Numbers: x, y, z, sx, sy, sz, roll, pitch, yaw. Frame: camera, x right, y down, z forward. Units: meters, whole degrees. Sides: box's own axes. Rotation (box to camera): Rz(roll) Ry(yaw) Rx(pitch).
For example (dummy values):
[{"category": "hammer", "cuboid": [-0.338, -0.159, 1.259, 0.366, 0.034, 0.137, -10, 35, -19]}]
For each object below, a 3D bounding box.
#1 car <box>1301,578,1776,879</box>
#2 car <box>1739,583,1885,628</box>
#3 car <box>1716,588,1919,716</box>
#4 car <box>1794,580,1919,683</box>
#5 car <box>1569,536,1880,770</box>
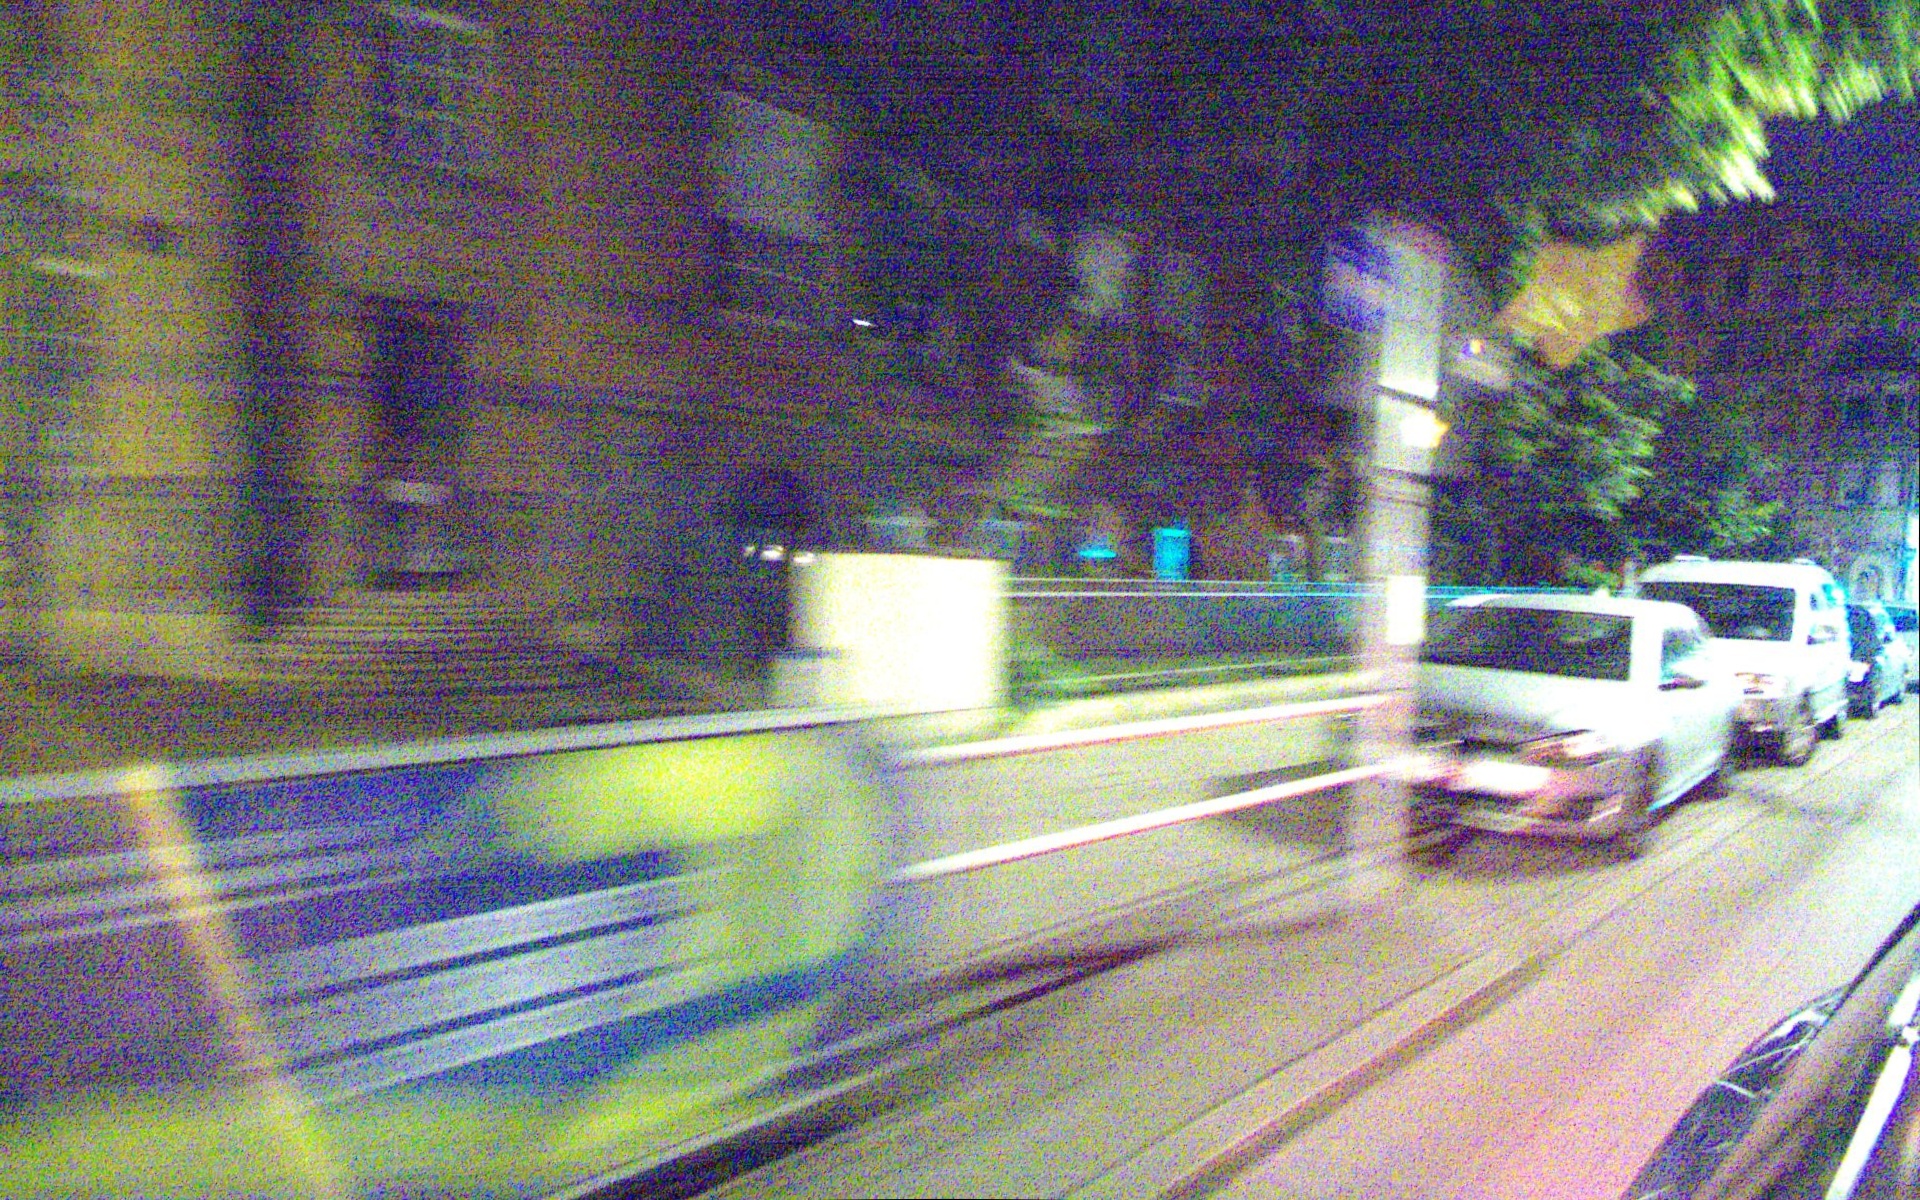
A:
[{"category": "car", "cuboid": [4.256, 0.615, 7.104, 4.251, 1.436, 1.729, 0, 3, -44]}, {"category": "car", "cuboid": [32.456, 0.151, 38.633, 1.821, 1.439, 4.021, -2, 5, -42]}, {"category": "car", "cuboid": [12.150, 0.607, 14.099, 4.366, 1.438, 1.689, 0, 3, -41]}, {"category": "car", "cuboid": [16.048, 0.491, 17.529, 3.930, 1.495, 1.744, 0, 5, -41]}, {"category": "car", "cuboid": [7.885, 0.385, 10.281, 4.243, 1.877, 1.738, 0, 3, -43]}]
